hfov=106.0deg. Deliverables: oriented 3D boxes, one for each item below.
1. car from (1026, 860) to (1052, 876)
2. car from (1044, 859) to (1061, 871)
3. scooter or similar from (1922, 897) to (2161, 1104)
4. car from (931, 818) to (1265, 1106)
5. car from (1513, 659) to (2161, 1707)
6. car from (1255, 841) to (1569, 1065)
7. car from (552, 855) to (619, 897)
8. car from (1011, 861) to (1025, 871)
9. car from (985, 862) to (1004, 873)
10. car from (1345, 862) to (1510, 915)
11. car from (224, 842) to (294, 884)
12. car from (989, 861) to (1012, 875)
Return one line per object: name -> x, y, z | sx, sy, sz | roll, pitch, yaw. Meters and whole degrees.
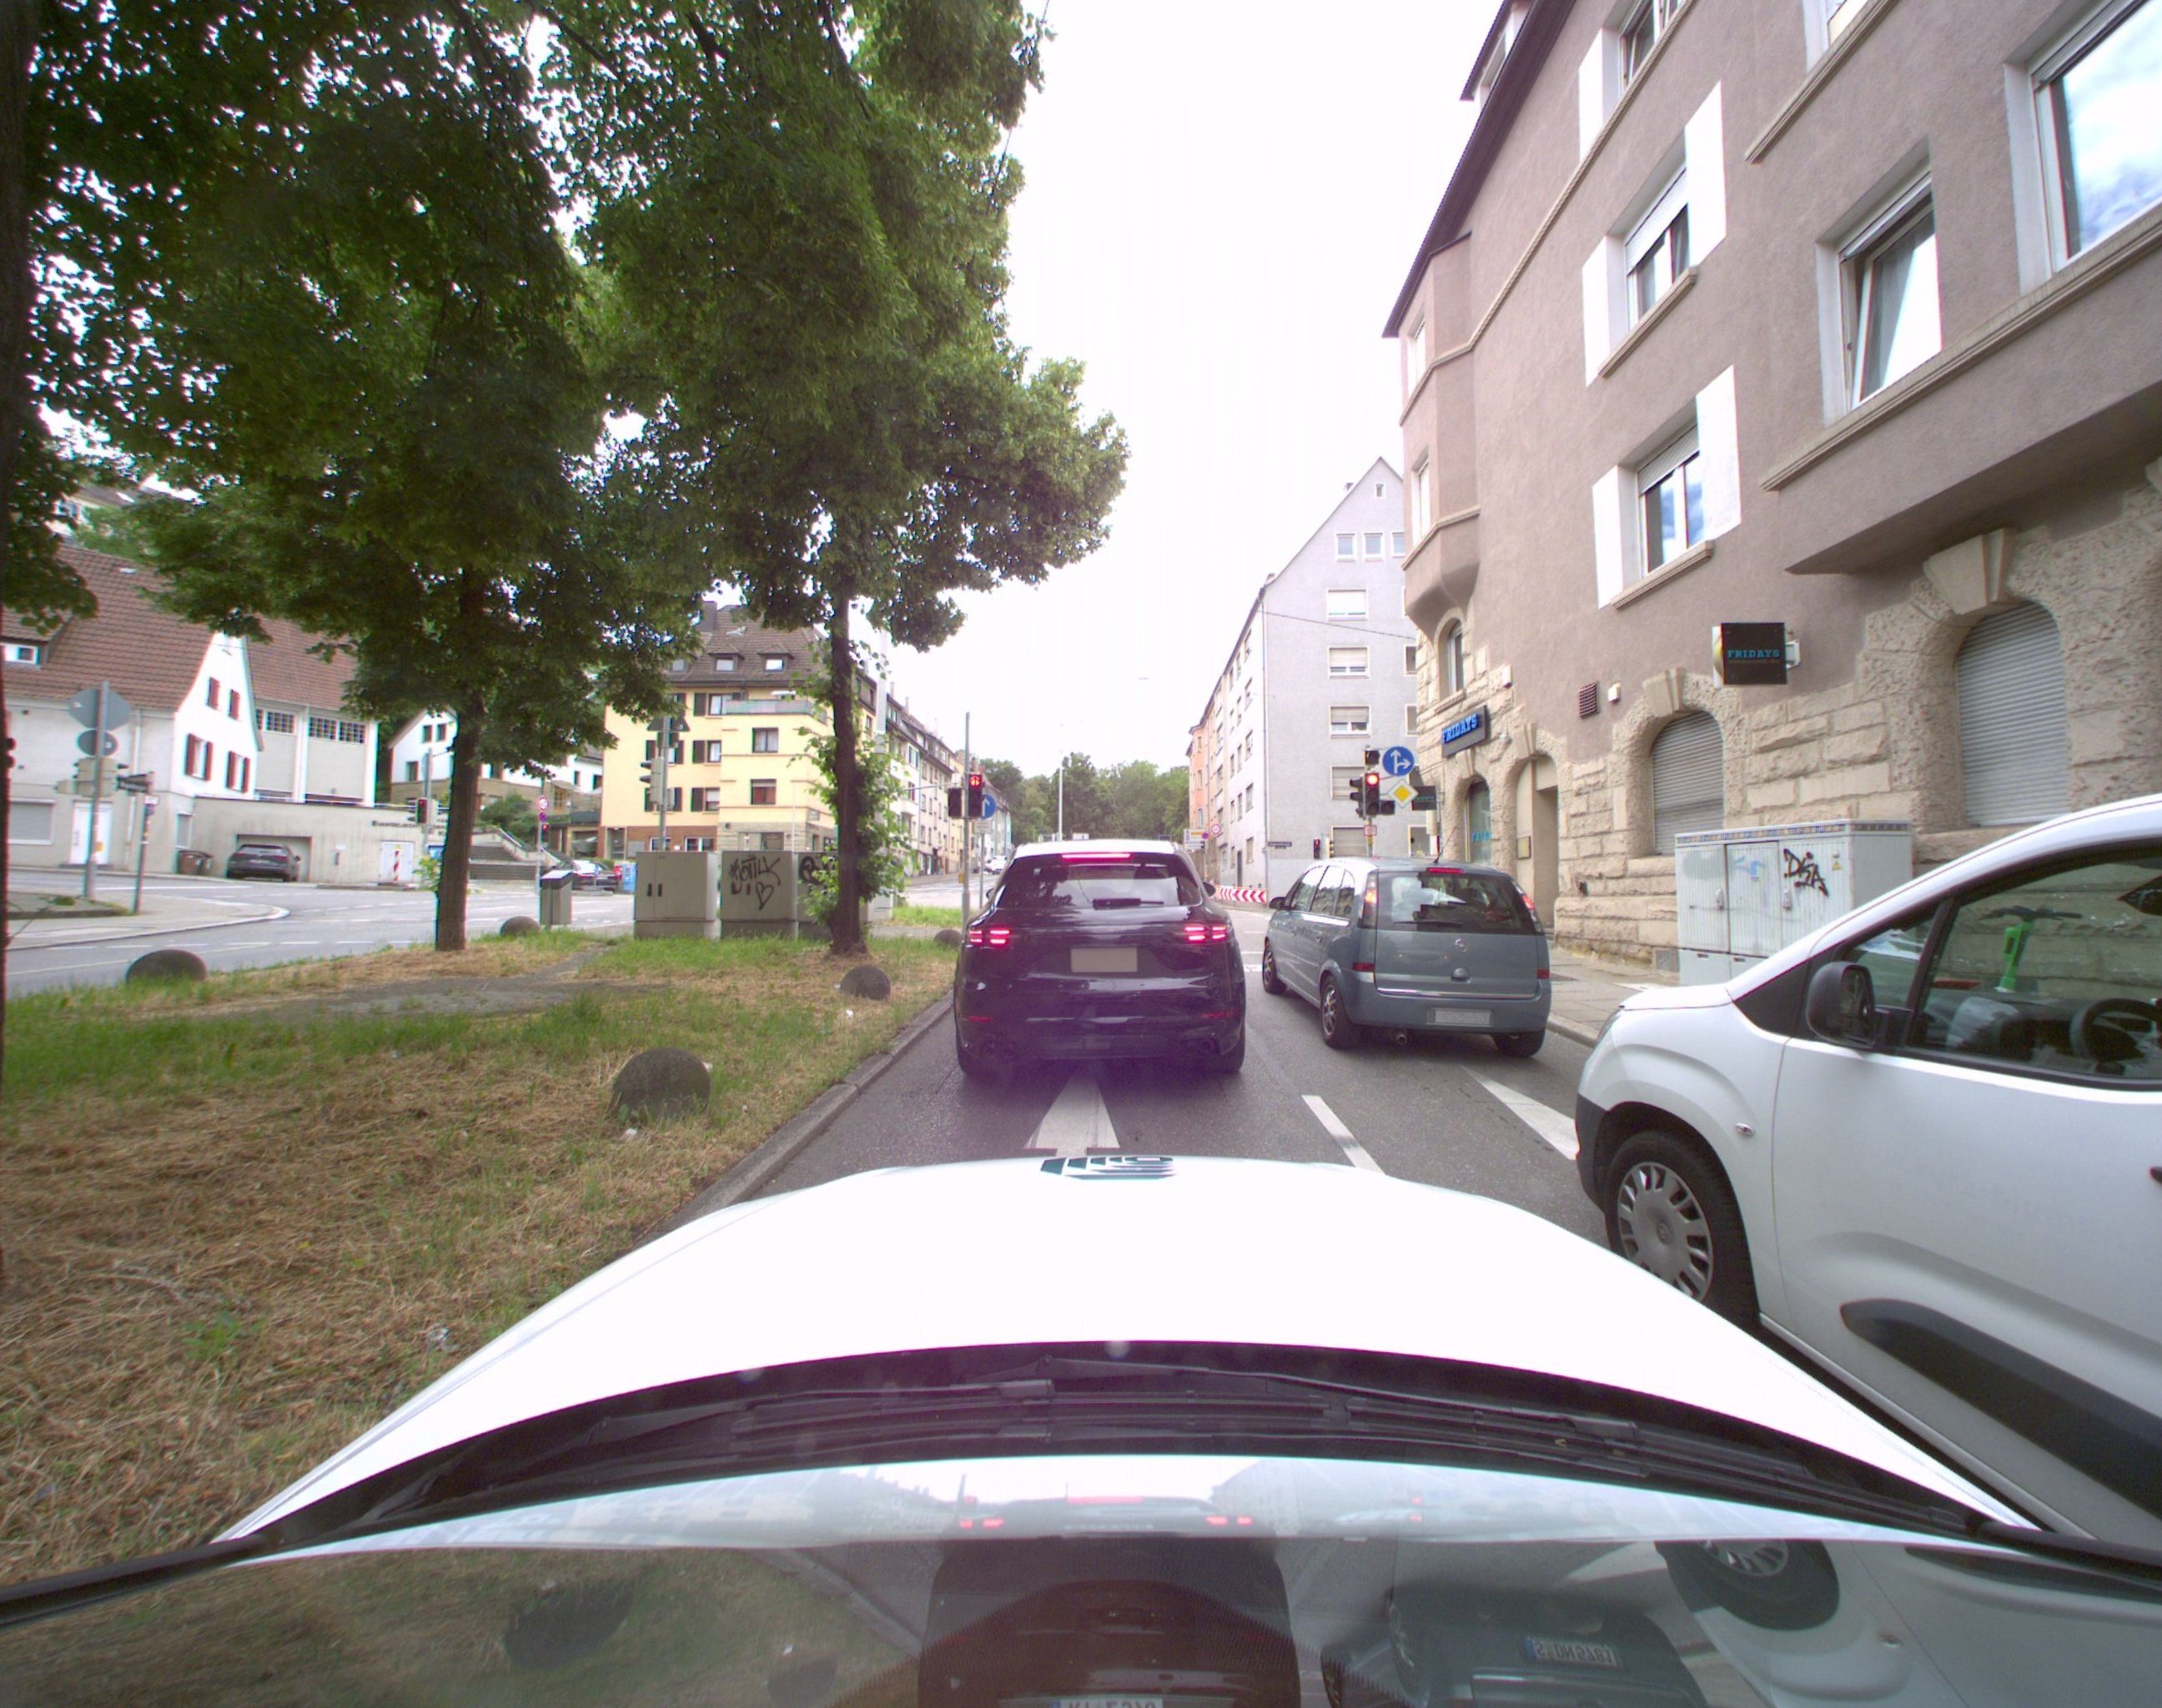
car -> -3.691, 1.239, 72.093 | 1.854, 1.388, 4.096 | 0, 0, 2
car -> -3.907, 1.490, 112.114 | 1.966, 1.610, 4.560 | 0, 0, 2
scooter or similar -> 6.432, 0.864, 5.287 | 0.524, 1.104, 1.424 | -1, -1, 4
car -> 0.160, 0.658, 6.831 | 1.948, 1.674, 4.001 | -1, -1, 2
car -> 2.799, 0.598, 1.050 | 1.969, 1.775, 4.676 | 3, 0, 0
car -> 2.867, 0.754, 7.931 | 1.622, 1.598, 3.670 | 3, 0, 2
car -> -23.590, 1.012, 38.736 | 3.477, 1.596, 1.881 | 7, 4, 44
car -> -9.656, 1.857, 125.440 | 1.682, 1.538, 3.815 | 0, -1, 2
car -> -10.542, 1.637, 99.046 | 1.732, 1.387, 3.815 | 0, 0, 2
car -> 10.229, 1.008, 24.189 | 4.228, 1.521, 1.664 | 0, -1, -4
car -> -32.178, 0.352, 31.869 | 3.019, 1.405, 1.681 | 2, -4, 42
car -> -8.798, 1.571, 89.544 | 1.836, 1.486, 3.902 | 0, -1, 4
